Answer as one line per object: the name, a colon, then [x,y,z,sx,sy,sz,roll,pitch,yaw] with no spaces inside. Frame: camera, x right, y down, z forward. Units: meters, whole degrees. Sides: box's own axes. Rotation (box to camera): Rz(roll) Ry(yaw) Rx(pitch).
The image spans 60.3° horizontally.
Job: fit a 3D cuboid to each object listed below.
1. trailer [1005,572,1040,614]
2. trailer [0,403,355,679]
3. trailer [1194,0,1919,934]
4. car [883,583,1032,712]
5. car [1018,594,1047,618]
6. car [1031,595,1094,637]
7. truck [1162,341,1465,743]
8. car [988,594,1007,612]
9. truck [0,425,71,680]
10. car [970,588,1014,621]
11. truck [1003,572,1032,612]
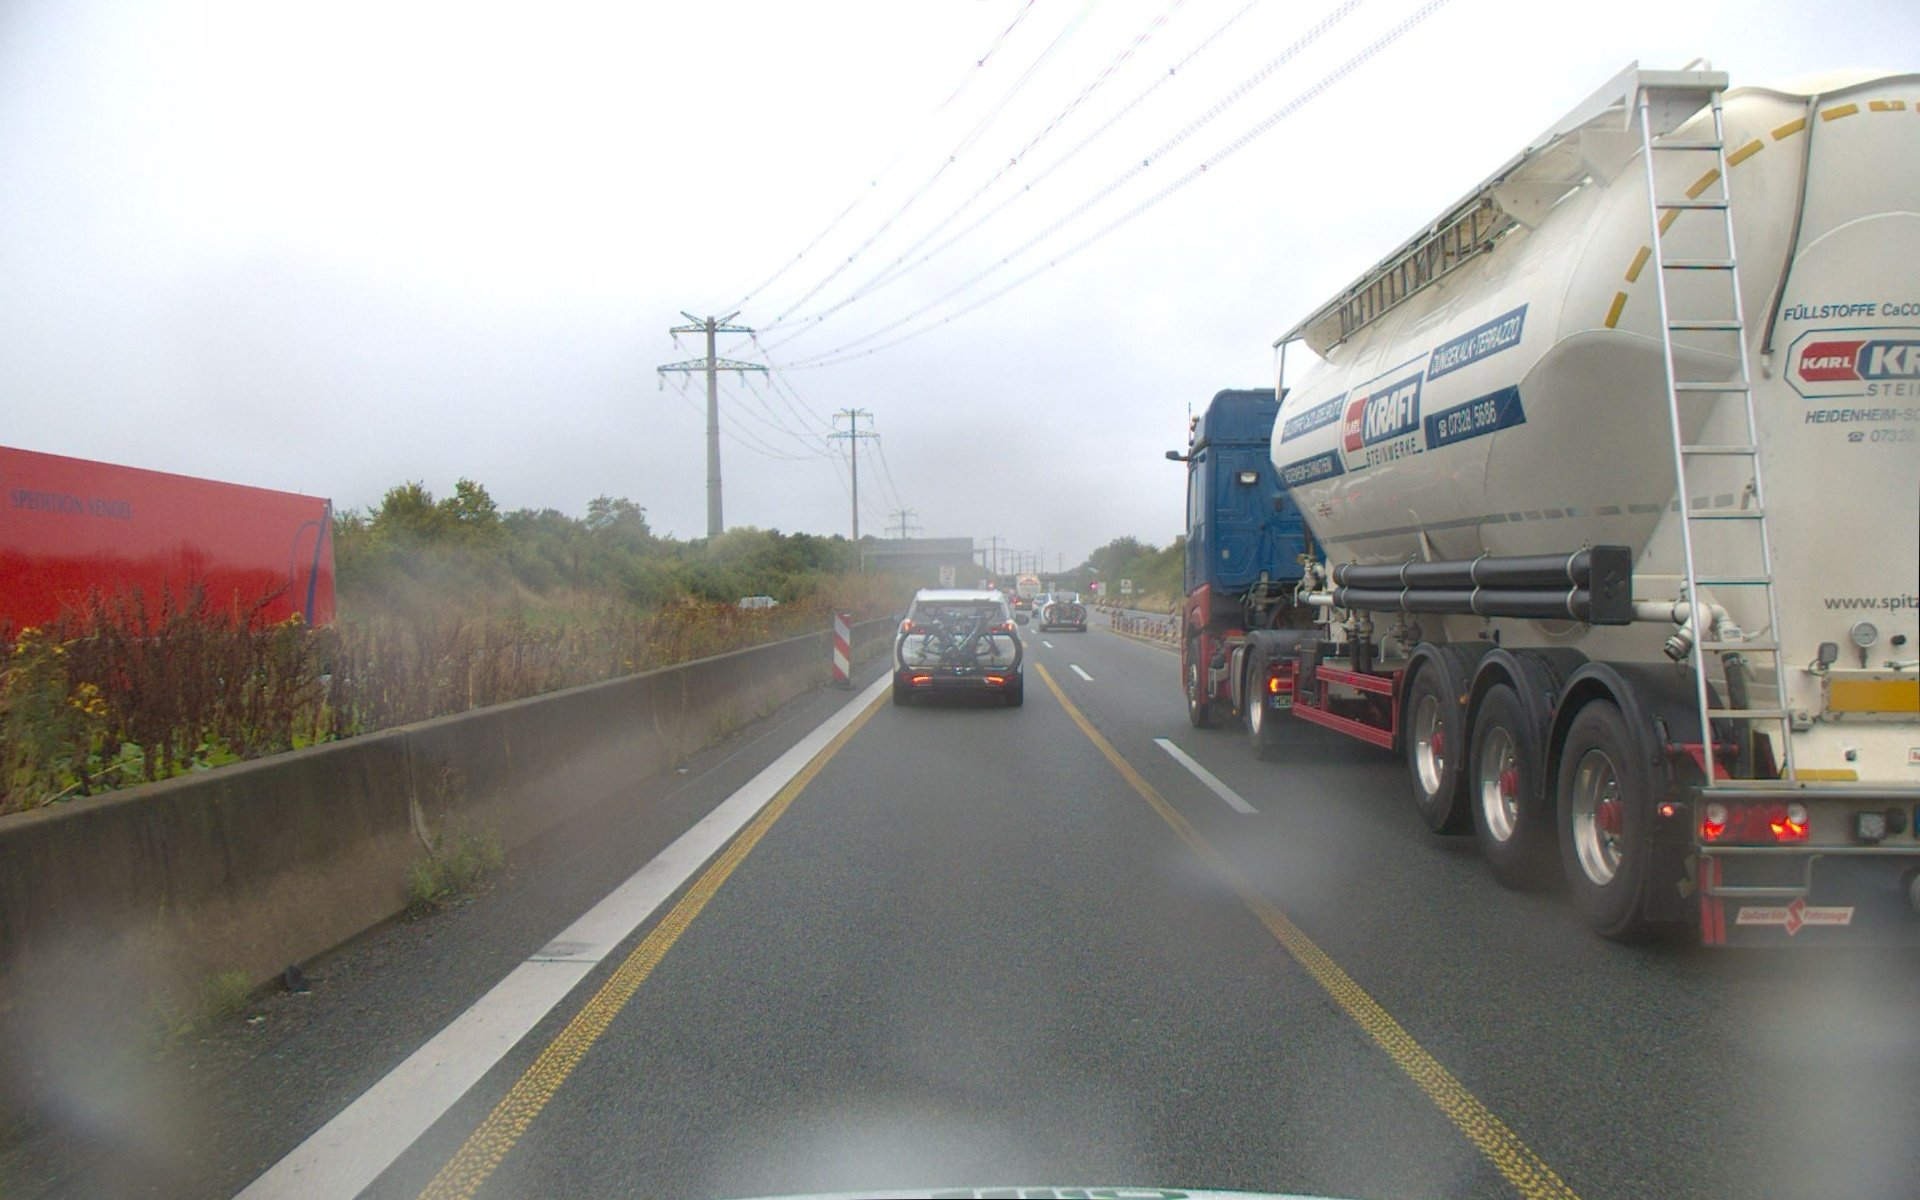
trailer: [6.133,-0.611,163.140,2.585,3.961,10.538,1,0,-2]
trailer: [-15.002,-0.794,29.913,2.975,3.881,13.976,1,0,0]
trailer: [3.987,-0.613,12.564,2.468,3.901,12.348,1,0,-1]
car: [-0.024,0.595,23.310,1.889,1.639,4.595,0,0,0]
car: [4.797,0.391,109.958,1.831,1.561,4.197,0,0,1]
car: [4.186,0.639,68.300,2.004,1.624,5.799,1,0,-2]
truck: [3.805,-0.569,18.656,2.496,4.016,3.999,1,-1,-1]
car: [4.363,0.349,191.508,1.953,2.049,3.998,1,-1,-2]
truck: [-14.980,-0.692,22.573,2.962,3.593,4.926,1,-1,0]
car: [1.539,0.203,81.945,1.953,1.611,3.998,0,0,-2]
truck: [5.874,-0.807,169.556,2.591,3.959,4.028,1,-1,-2]
